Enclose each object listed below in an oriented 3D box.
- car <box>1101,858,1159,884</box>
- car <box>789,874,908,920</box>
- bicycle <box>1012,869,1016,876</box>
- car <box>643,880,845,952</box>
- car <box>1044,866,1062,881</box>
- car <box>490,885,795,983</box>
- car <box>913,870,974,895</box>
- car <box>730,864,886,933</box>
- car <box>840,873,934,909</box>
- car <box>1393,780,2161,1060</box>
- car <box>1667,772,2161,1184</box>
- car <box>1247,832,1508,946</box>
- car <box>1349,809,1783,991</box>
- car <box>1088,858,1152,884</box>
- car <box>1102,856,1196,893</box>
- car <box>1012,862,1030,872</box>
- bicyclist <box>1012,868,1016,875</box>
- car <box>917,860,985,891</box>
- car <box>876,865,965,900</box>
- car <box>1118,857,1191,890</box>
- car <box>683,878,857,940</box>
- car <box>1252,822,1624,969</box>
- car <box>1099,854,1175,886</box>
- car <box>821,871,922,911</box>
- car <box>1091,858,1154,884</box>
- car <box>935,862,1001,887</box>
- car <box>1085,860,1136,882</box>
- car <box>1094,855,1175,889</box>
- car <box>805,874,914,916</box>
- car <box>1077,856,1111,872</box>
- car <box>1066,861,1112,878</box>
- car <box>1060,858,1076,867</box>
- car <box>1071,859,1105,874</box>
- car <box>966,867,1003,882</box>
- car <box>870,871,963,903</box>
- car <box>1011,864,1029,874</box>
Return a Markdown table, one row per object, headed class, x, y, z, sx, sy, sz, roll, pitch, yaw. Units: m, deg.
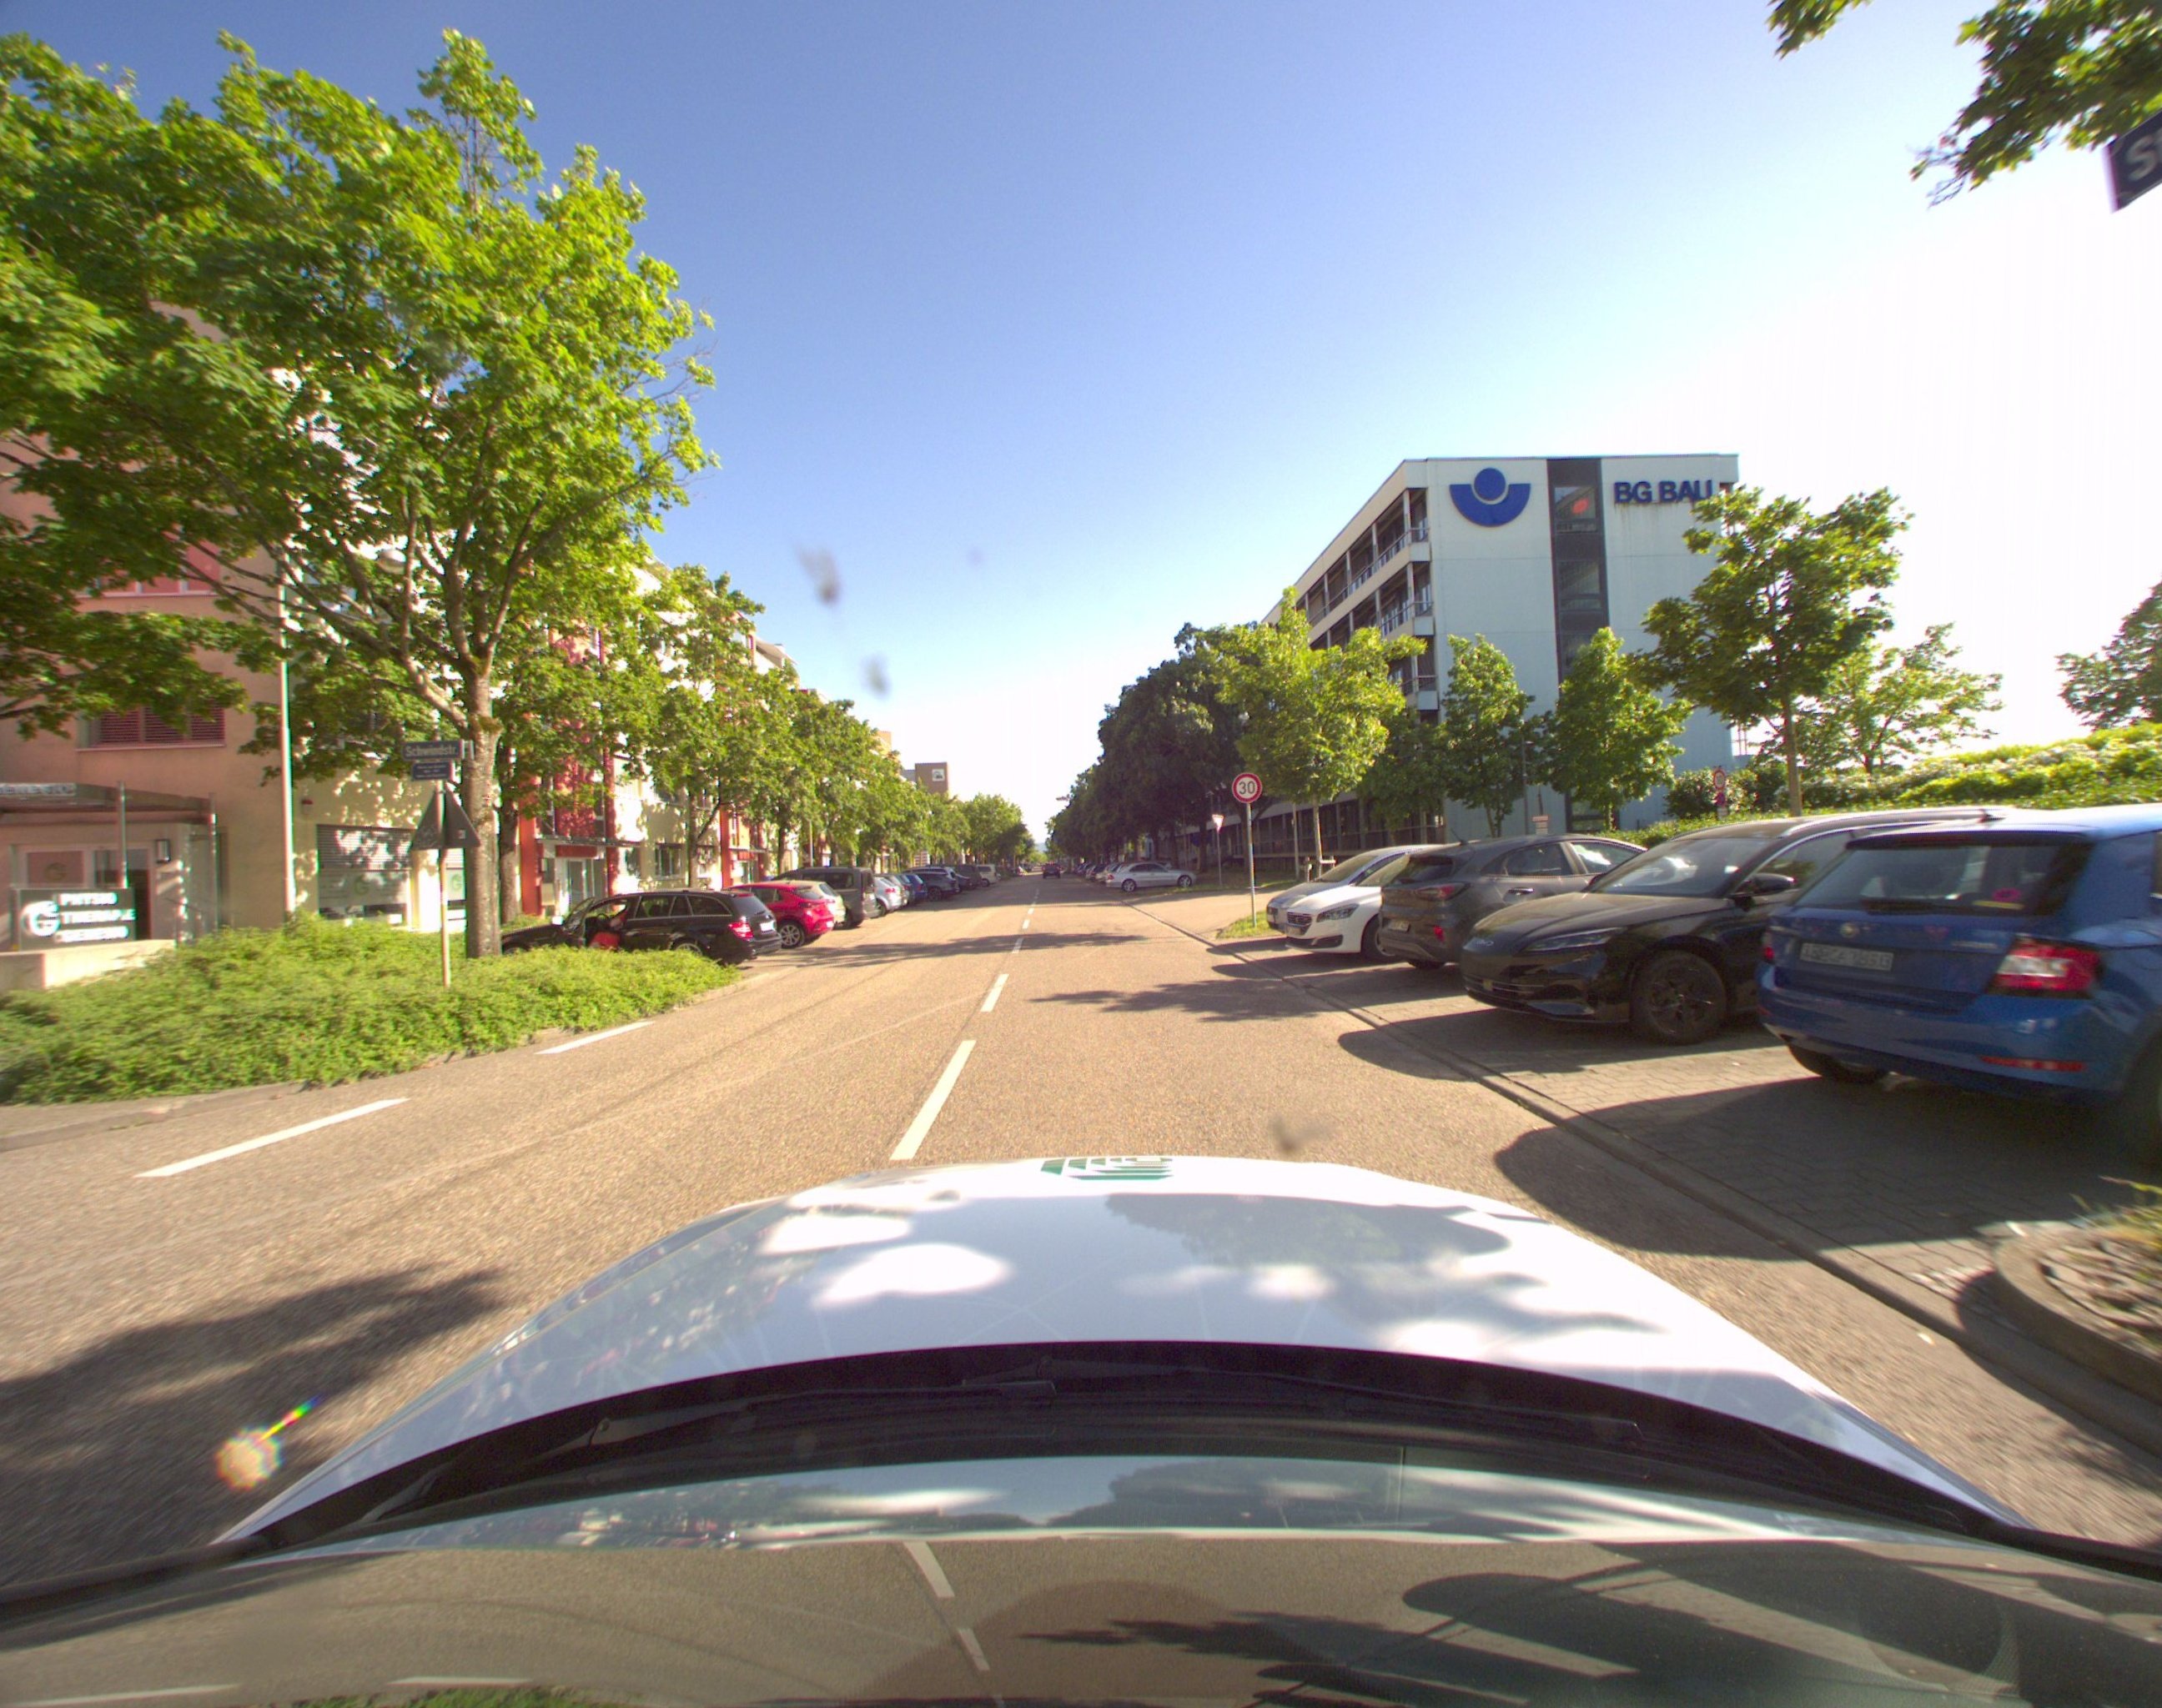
| class | x | y | z | sx | sy | sz | roll | pitch | yaw |
| --- | --- | --- | --- | --- | --- | --- | --- | --- | --- |
| car | 3.394 | 1.166 | 56.976 | 3.739 | 1.493 | 1.613 | -5 | -1 | -7 |
| car | -8.164 | 1.486 | 28.857 | 3.722 | 1.447 | 1.872 | -1 | -1 | -6 |
| bicycle | -10.293 | 2.822 | 125.137 | 0.530 | 1.072 | 1.300 | -3 | -1 | 0 |
| car | -7.640 | 1.389 | 18.762 | 3.882 | 1.423 | 1.738 | -1 | -1 | -3 |
| car | -3.254 | 2.233 | 95.007 | 1.989 | 1.640 | 3.996 | -1 | -1 | -3 |
| car | -7.354 | 1.325 | 13.953 | 4.247 | 1.423 | 1.740 | -1 | -1 | 1 |
| car | -8.600 | 1.778 | 51.173 | 3.724 | 1.427 | 1.720 | -1 | -1 | -9 |
| car | -7.819 | 1.248 | 23.589 | 3.882 | 1.811 | 1.784 | -1 | -1 | -3 |
| car | -8.552 | 1.608 | 36.111 | 3.718 | 1.427 | 1.838 | -1 | -1 | -4 |
| car | 5.336 | 0.464 | 6.794 | 4.538 | 1.515 | 2.156 | -6 | -1 | -2 |
| car | 5.520 | 0.347 | 4.085 | 3.794 | 1.448 | 1.744 | -7 | -1 | -1 |
| car | 5.196 | 0.593 | 14.515 | 3.947 | 1.515 | 1.696 | -5 | -1 | -9 |
| car | 5.351 | 0.487 | 9.348 | 3.866 | 1.515 | 1.749 | -6 | -1 | -2 |
| car | 2.945 | 1.305 | 61.748 | 4.581 | 1.493 | 1.761 | -6 | -1 | -3 |
| car | 3.451 | 1.026 | 42.037 | 4.566 | 1.475 | 1.745 | -5 | -1 | -2 |
| car | -14.475 | 3.070 | 195.906 | 3.972 | 2.013 | 2.001 | -4 | -1 | 1 |
| bicyclist | -10.298 | 2.710 | 125.113 | 0.530 | 1.091 | 0.794 | -3 | -1 | 0 |
| car | -9.320 | 1.516 | 58.551 | 4.474 | 2.090 | 2.082 | -1 | -1 | -1 |
| car | -8.600 | 1.525 | 43.851 | 4.303 | 1.717 | 1.963 | -1 | -1 | 2 |
| car | 4.029 | 1.057 | 44.981 | 3.824 | 1.447 | 1.922 | -5 | -1 | 1 |
| car | -8.116 | 1.422 | 21.510 | 3.882 | 1.423 | 1.738 | -1 | -1 | -3 |
| car | 5.066 | 0.552 | 11.898 | 4.548 | 1.515 | 1.976 | -5 | -1 | -9 |
| car | 3.399 | 0.984 | 49.800 | 4.498 | 1.542 | 1.923 | -5 | -1 | 2 |
| car | -8.633 | 1.518 | 33.764 | 3.718 | 1.508 | 1.857 | -1 | -1 | -4 |
| car | 2.982 | 1.254 | 59.401 | 4.276 | 1.493 | 2.002 | -5 | -1 | -3 |
| car | -9.480 | 1.690 | 68.562 | 5.245 | 1.967 | 1.941 | -1 | -1 | -3 |
| car | 2.376 | 1.401 | 67.122 | 3.963 | 1.420 | 1.707 | -5 | -1 | -5 |
| car | 3.061 | 1.040 | 47.374 | 4.499 | 1.542 | 1.922 | -5 | -1 | 1 |
| car | -8.426 | 1.540 | 31.204 | 3.722 | 1.447 | 1.856 | -1 | -1 | -6 |
| car | 1.556 | 1.184 | 97.584 | 3.939 | 1.514 | 1.811 | -5 | -1 | -2 |
| car | 0.812 | 1.694 | 89.066 | 4.817 | 1.420 | 2.029 | -5 | -1 | -5 |
| car | -3.407 | 2.293 | 215.838 | 3.980 | 2.013 | 1.997 | -3 | -1 | -5 |
| car | 0.973 | 1.692 | 111.785 | 4.345 | 1.704 | 1.809 | -5 | -1 | -6 |
| car | -10.737 | 2.322 | 90.930 | 3.979 | 1.486 | 1.804 | -2 | -1 | -4 |
| car | -8.289 | 1.659 | 41.261 | 4.395 | 1.427 | 1.770 | -1 | -1 | -5 |
| car | -14.400 | 3.541 | 192.888 | 3.972 | 2.013 | 2.001 | -4 | -1 | 1 |
